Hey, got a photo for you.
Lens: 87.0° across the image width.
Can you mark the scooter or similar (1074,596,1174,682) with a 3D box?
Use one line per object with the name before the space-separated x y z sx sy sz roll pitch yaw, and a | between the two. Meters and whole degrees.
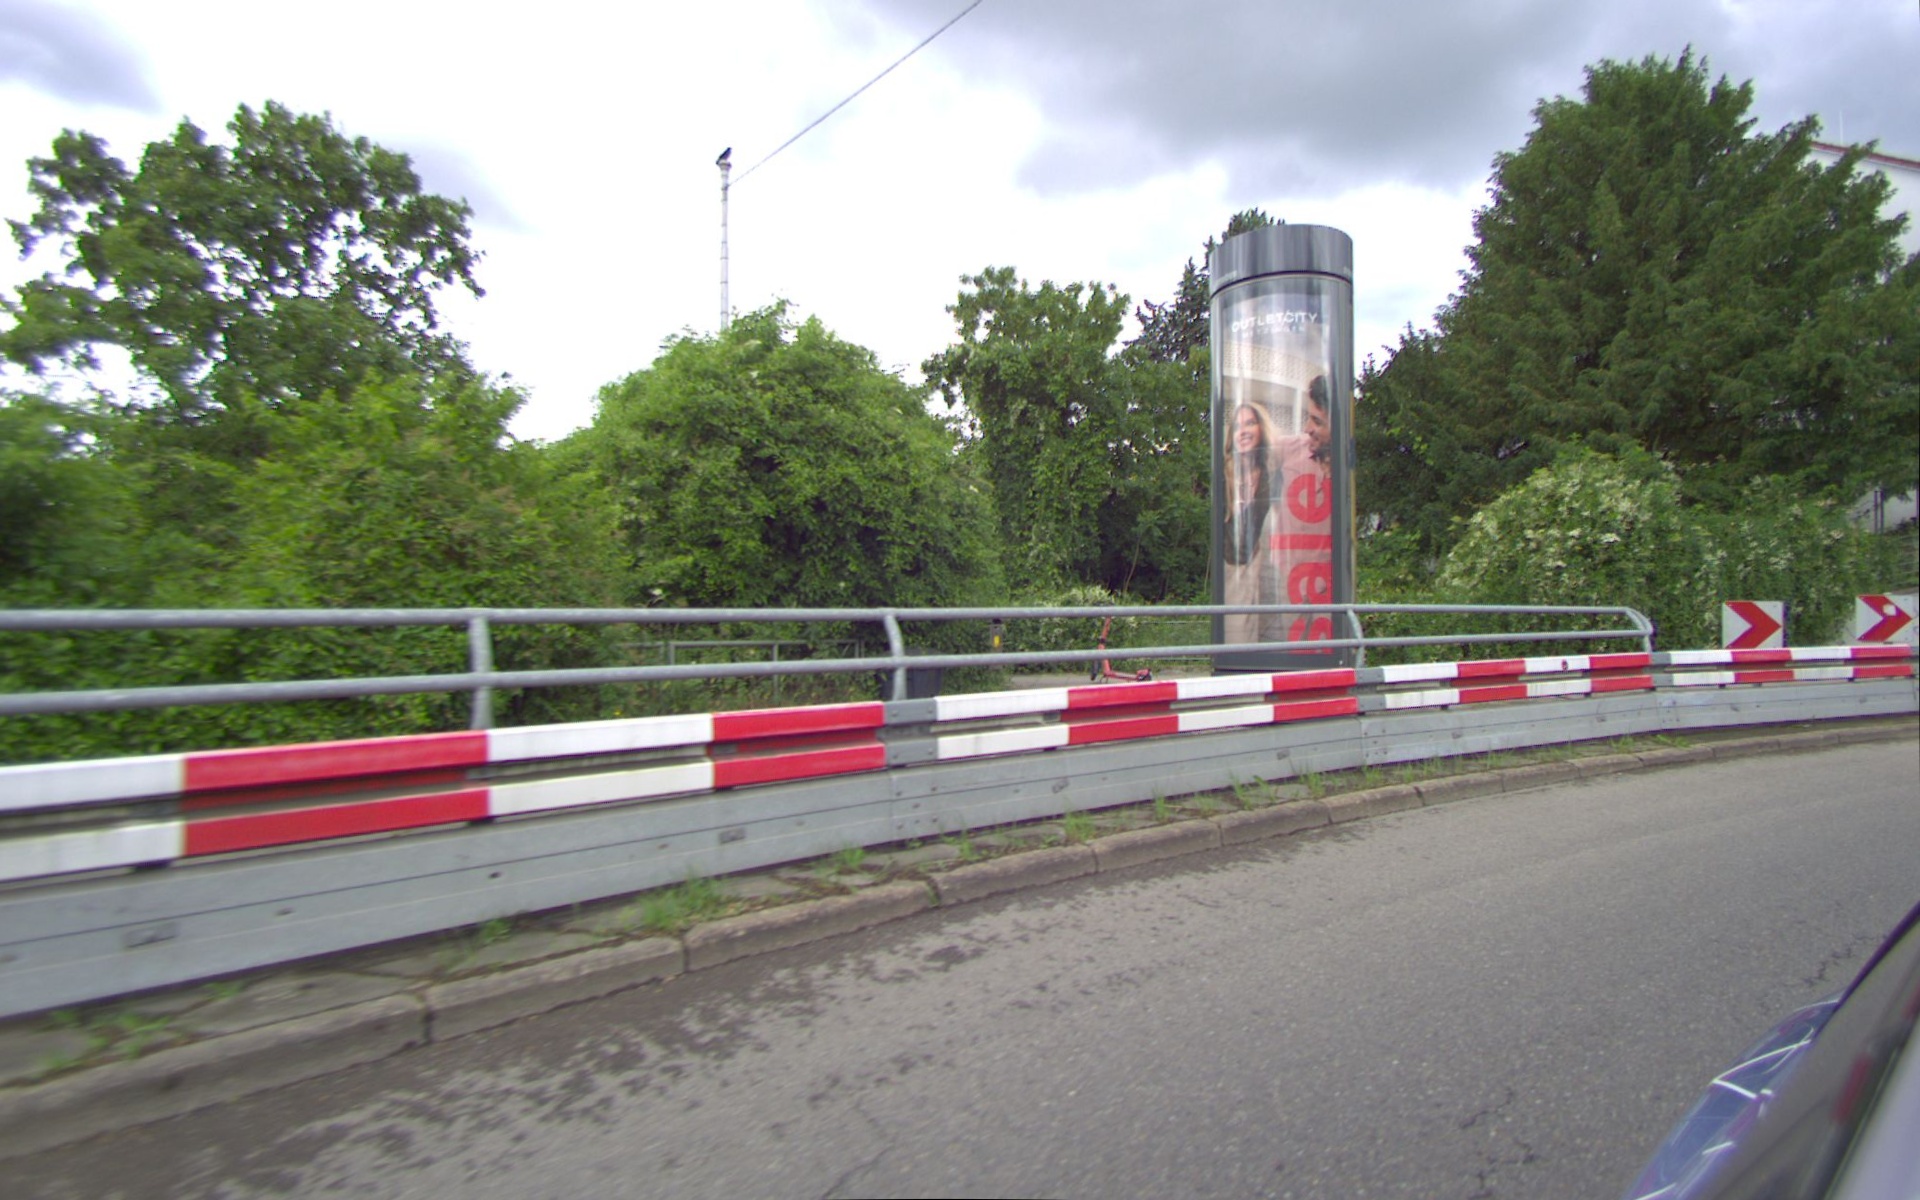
scooter or similar | 2.518 0.594 15.620 1.492 1.266 0.431 -2 -2 37
